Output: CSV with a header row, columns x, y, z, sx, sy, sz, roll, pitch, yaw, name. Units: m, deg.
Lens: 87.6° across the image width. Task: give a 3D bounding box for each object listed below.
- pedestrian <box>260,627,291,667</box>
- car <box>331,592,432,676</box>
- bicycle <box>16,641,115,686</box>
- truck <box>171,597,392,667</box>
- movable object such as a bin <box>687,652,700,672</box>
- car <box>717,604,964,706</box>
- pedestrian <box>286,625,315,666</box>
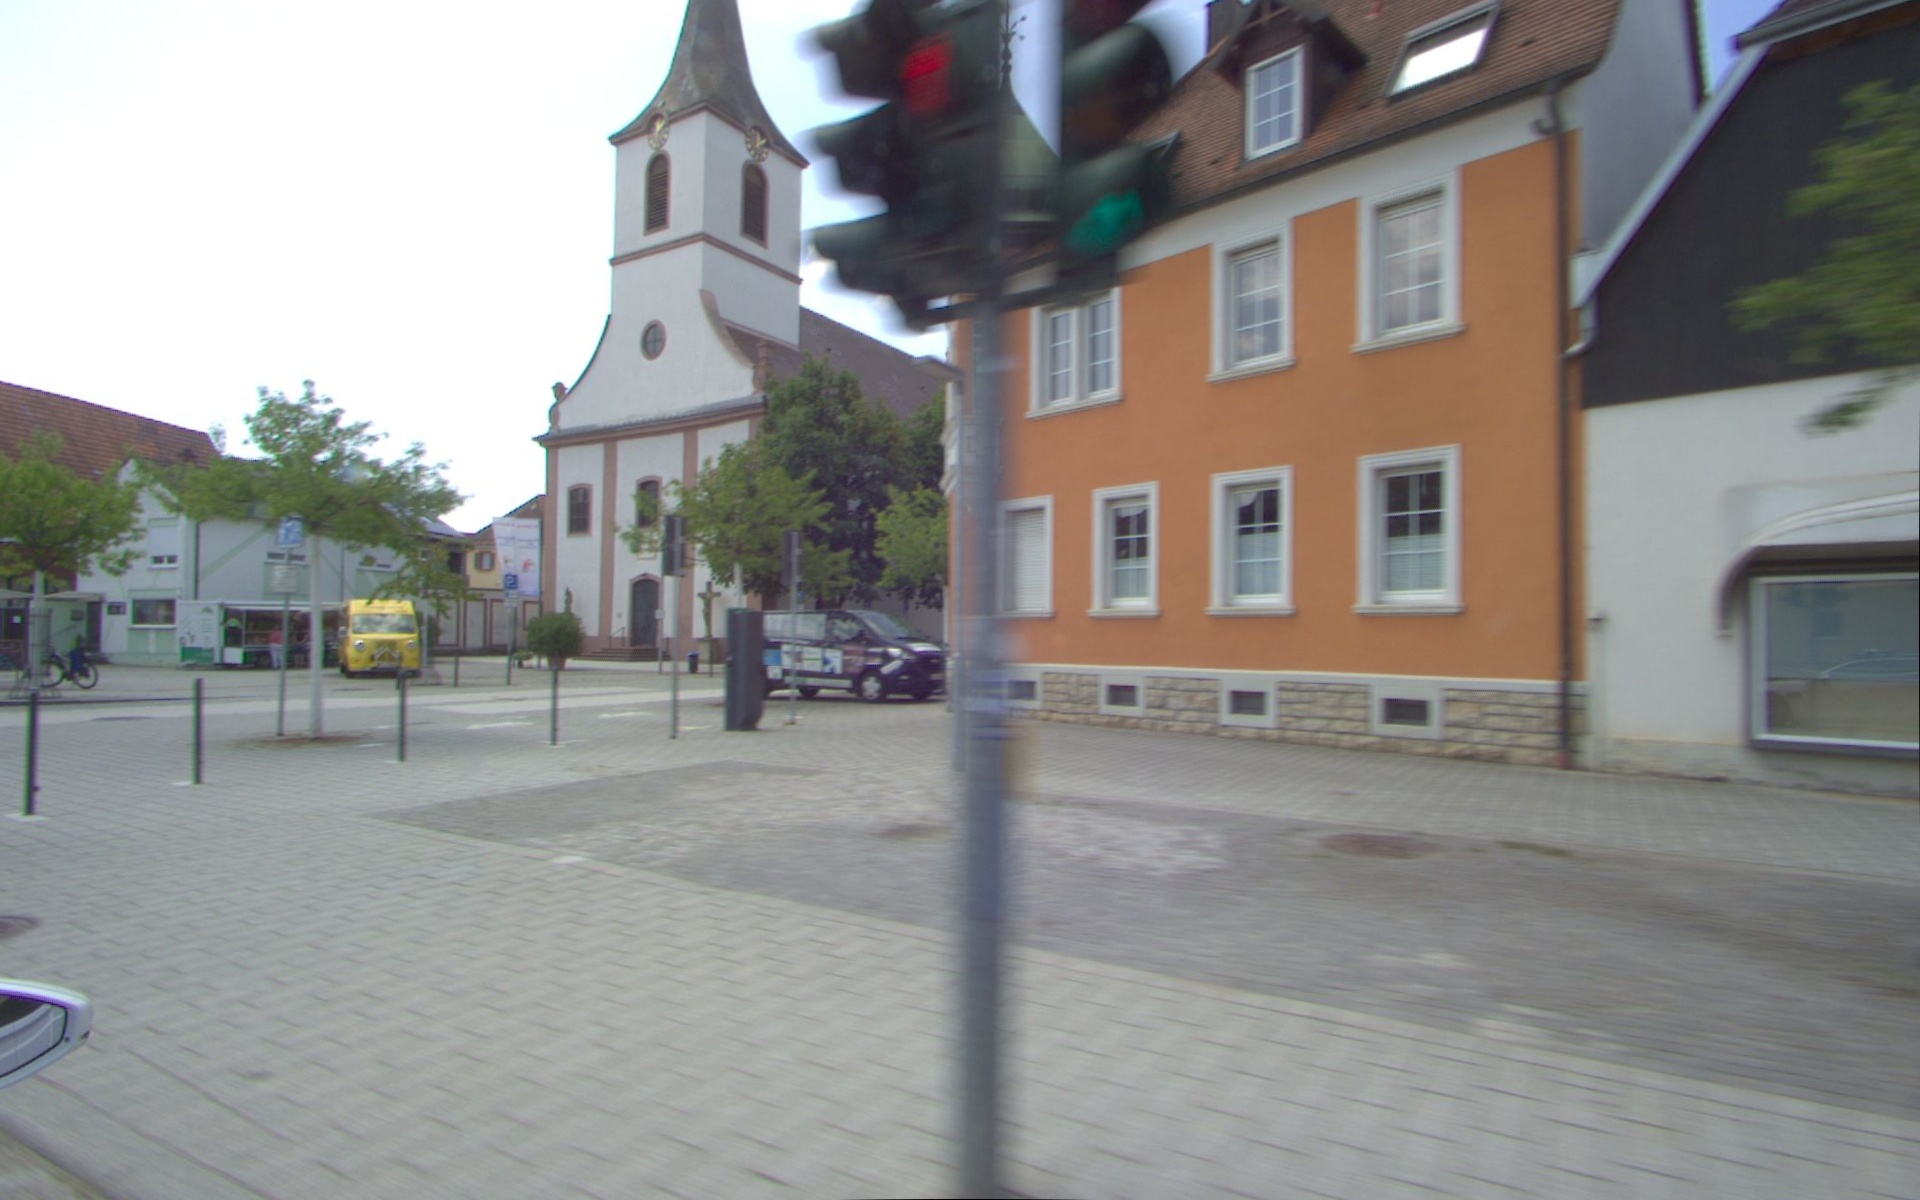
x,y,z,sx,sy,sz,roll,pitch,yaw,name
-25.663,1.748,37.543,0.748,1.460,0.643,-1,-1,21,pedestrian
-19.481,1.126,33.539,2.618,2.508,6.924,2,-2,-32,car
-22.719,1.594,25.448,2.071,1.082,0.756,1,-2,11,bicycle
-26.741,1.300,39.882,2.907,2.529,6.811,0,-2,22,truck
-9.755,2.279,36.648,0.359,0.708,0.293,0,-1,20,movable object such as a bin
-2.739,1.156,22.253,5.417,2.039,1.990,0,-2,33,car
-25.389,1.738,38.548,0.801,1.560,0.560,0,-1,23,pedestrian
